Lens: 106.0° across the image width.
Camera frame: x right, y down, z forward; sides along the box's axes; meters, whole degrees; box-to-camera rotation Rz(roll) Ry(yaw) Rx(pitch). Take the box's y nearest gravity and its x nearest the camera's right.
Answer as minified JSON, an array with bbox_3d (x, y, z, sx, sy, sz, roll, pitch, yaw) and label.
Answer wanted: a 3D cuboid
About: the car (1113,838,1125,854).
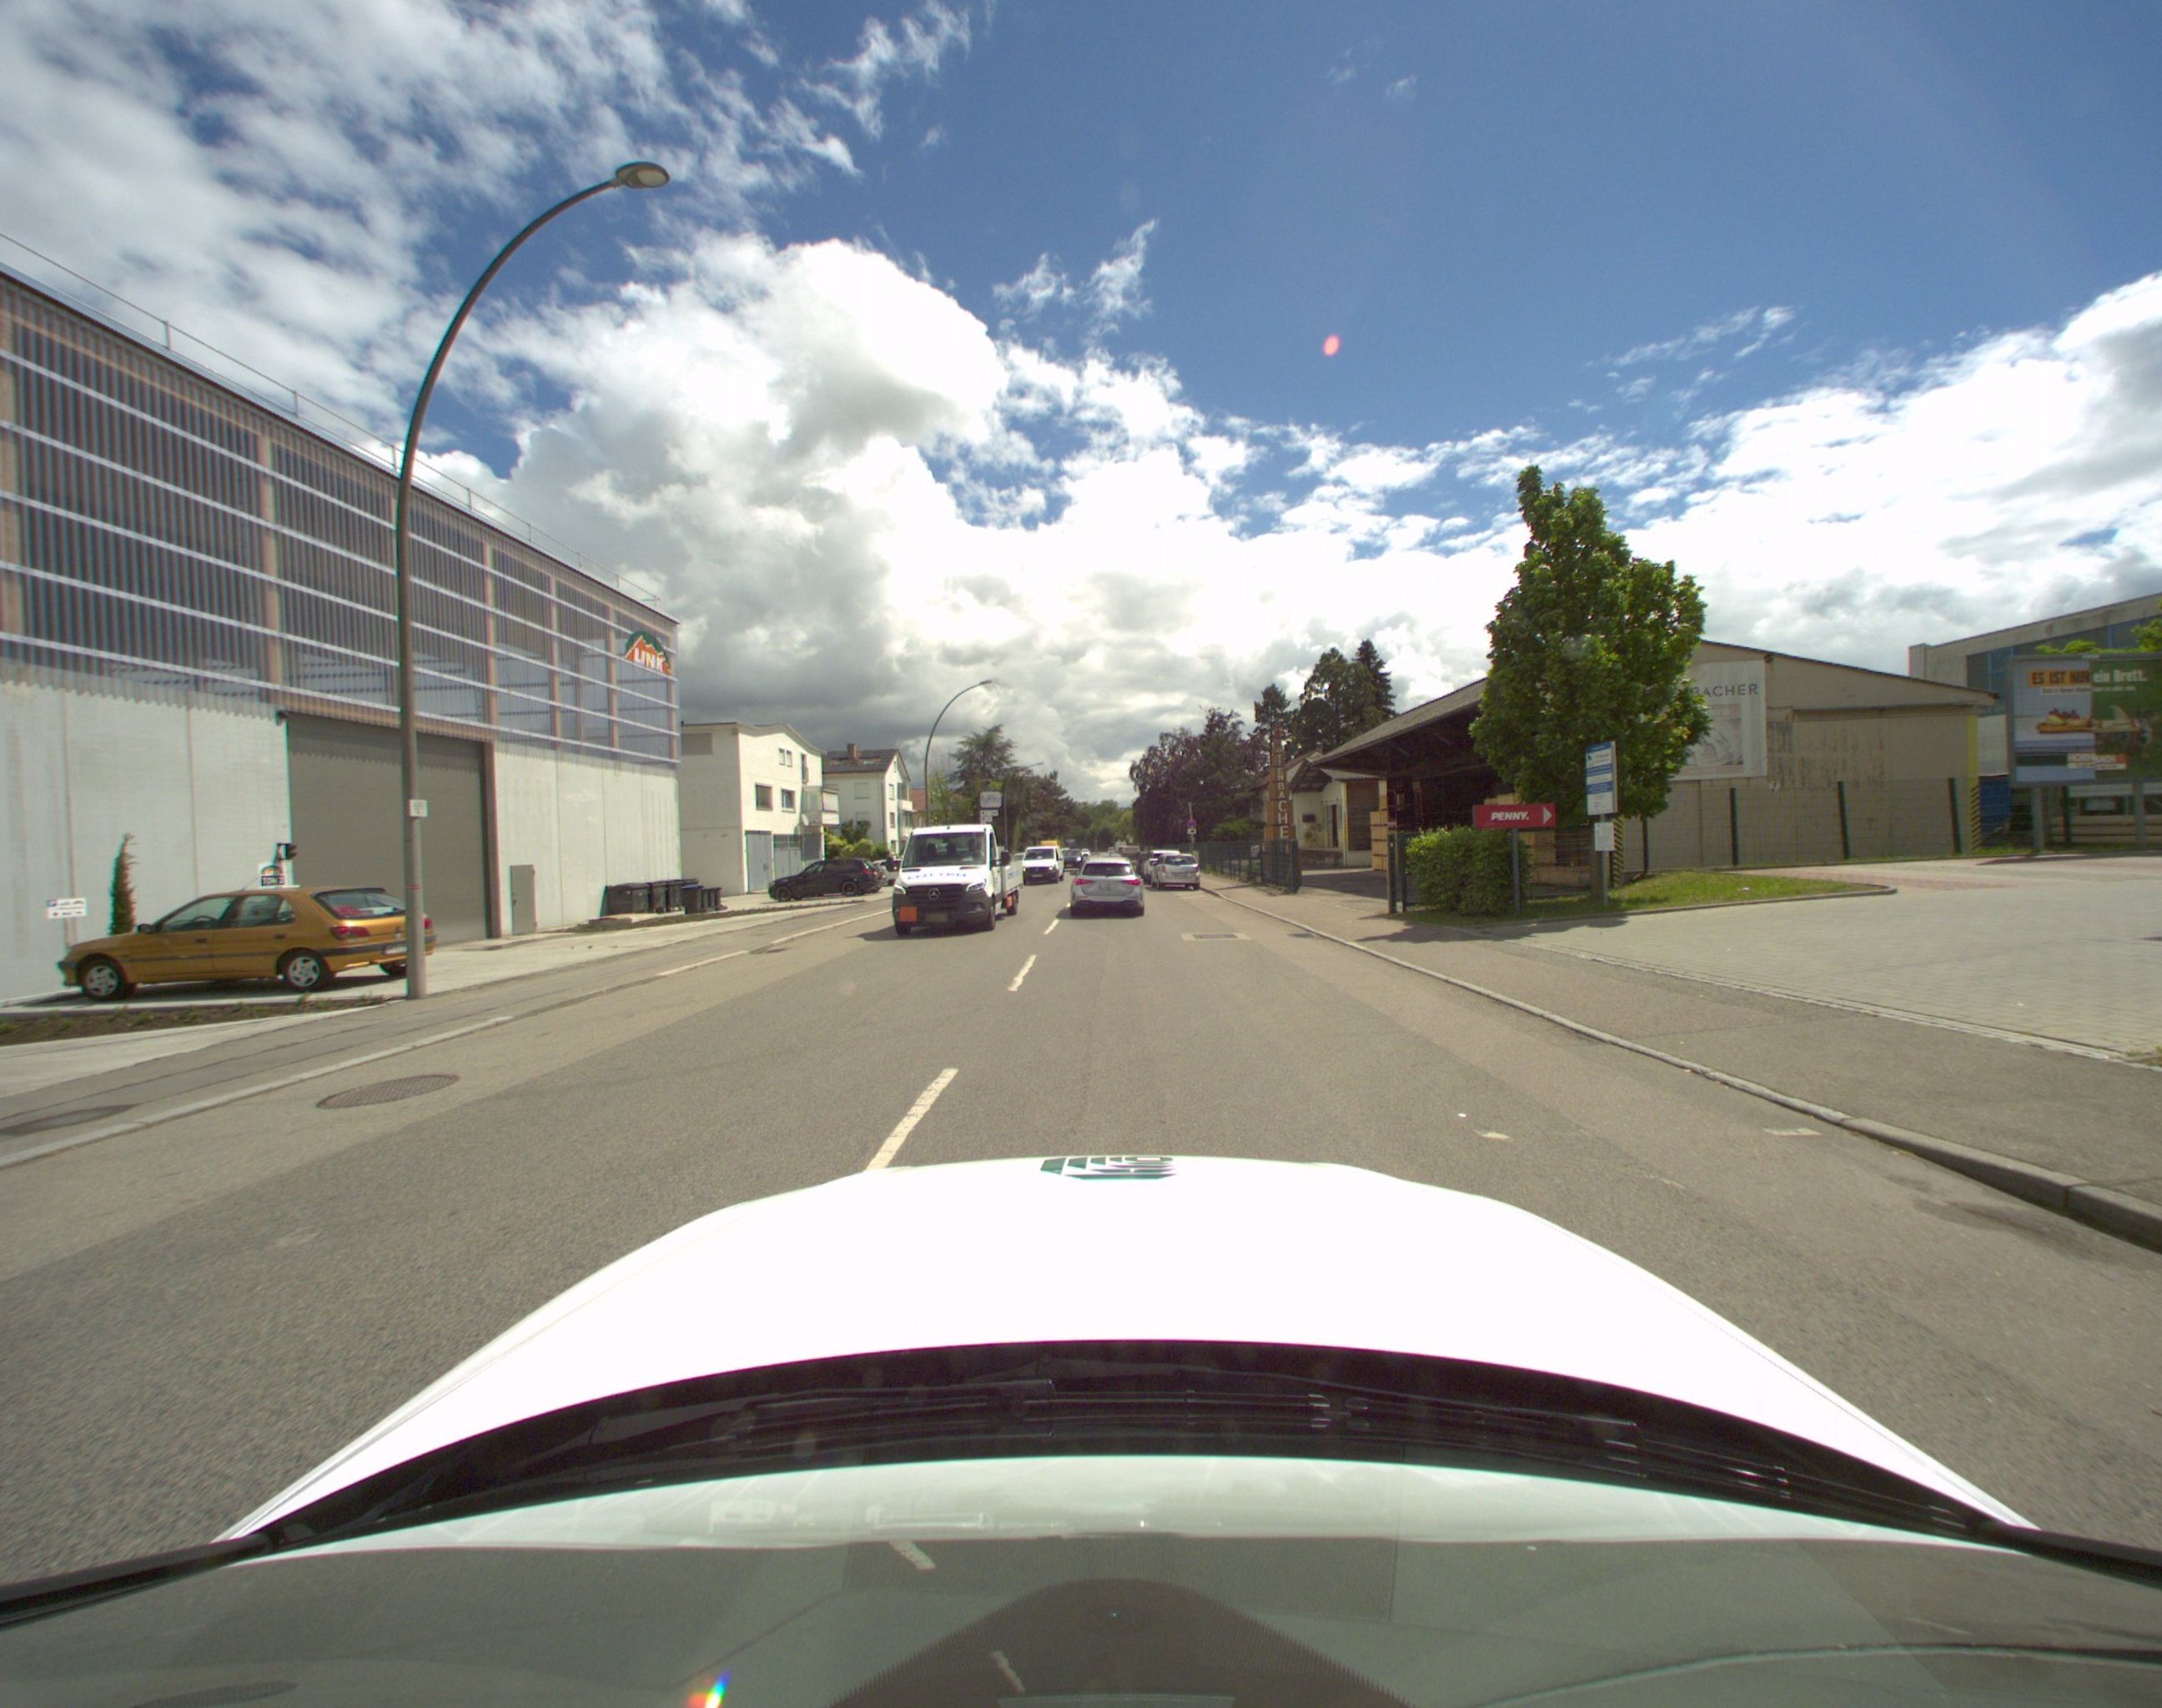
[{"bbox_3d":[6.086,-1.265,130.382,1.779,2.518,4.315,-1,0,0],"label":"car"}]

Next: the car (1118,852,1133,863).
[{"bbox_3d":[6.174,0.513,113.098,1.779,1.484,4.315,-1,0,0],"label":"car"}]

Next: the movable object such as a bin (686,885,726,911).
[{"bbox_3d":[-14.743,1.719,32.037,0.740,0.919,1.520,-3,0,3],"label":"movable object such as a bin"}]

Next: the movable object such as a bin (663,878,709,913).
[{"bbox_3d":[-16.826,1.747,34.724,0.953,1.356,1.820,-3,0,3],"label":"movable object such as a bin"}]

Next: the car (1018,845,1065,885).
[{"bbox_3d":[-1.966,0.504,41.891,1.987,1.888,5.118,-2,1,1],"label":"car"}]

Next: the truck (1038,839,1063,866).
[{"bbox_3d":[-3.358,-0.234,91.309,2.066,2.814,7.083,-3,1,3],"label":"truck"}]

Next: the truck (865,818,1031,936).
[{"bbox_3d":[-2.763,0.409,18.896,2.309,2.178,6.455,-3,0,3],"label":"truck"}]

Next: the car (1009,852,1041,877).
[{"bbox_3d":[-3.949,0.708,57.864,1.785,1.603,4.365,-3,1,1],"label":"car"}]

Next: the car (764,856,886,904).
[{"bbox_3d":[-11.335,1.127,36.381,4.615,1.632,2.196,-5,1,-2],"label":"car"}]

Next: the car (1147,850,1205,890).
[{"bbox_3d":[3.899,0.614,34.002,1.786,1.450,4.362,-3,1,-1],"label":"car"}]

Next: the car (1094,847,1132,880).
[{"bbox_3d":[1.601,0.466,41.808,1.750,1.558,3.999,-2,1,-1],"label":"car"}]

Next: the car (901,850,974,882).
[{"bbox_3d":[-9.208,0.775,52.575,4.265,1.836,1.991,-2,-3,0],"label":"car"}]

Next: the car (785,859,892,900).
[{"bbox_3d":[-11.536,1.199,38.921,4.450,1.505,1.824,-5,1,-2],"label":"car"}]

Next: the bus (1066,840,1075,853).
[{"bbox_3d":[-2.847,-2.098,217.640,1.989,3.364,6.973,0,1,-4],"label":"bus"}]

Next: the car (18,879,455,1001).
[{"bbox_3d":[-11.674,1.151,11.515,4.139,1.491,1.824,0,1,-2],"label":"car"}]

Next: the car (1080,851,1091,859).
[{"bbox_3d":[0.831,0.171,156.632,1.927,1.492,4.365,-3,1,1],"label":"car"}]

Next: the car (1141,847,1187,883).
[{"bbox_3d":[3.965,0.490,39.630,1.785,1.552,4.574,-3,1,1],"label":"car"}]

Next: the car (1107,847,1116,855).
[{"bbox_3d":[6.459,-0.643,174.351,1.749,1.558,4.001,-2,1,1],"label":"car"}]

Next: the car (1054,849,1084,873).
[{"bbox_3d":[-0.932,0.512,64.244,1.985,1.733,4.552,-3,1,3],"label":"car"}]

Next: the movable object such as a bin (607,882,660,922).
[{"bbox_3d":[-17.002,1.805,30.996,0.953,1.356,1.820,0,1,3],"label":"movable object such as a bin"}]

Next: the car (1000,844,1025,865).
[{"bbox_3d":[-5.978,0.019,71.442,1.989,1.657,3.997,-3,1,-2],"label":"car"}]

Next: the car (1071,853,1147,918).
[{"bbox_3d":[0.647,0.741,21.204,1.779,1.484,4.315,-1,0,0],"label":"car"}]

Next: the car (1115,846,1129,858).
[{"bbox_3d":[5.986,-0.265,118.133,1.779,1.715,4.315,-1,0,0],"label":"car"}]

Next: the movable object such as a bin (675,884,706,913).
[{"bbox_3d":[-14.827,1.678,30.920,0.740,1.030,0.712,-3,0,3],"label":"movable object such as a bin"}]

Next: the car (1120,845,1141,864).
[{"bbox_3d":[5.612,0.044,92.836,2.136,1.984,5.263,-2,0,2],"label":"car"}]

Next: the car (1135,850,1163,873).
[{"bbox_3d":[4.678,0.465,56.262,1.683,1.450,3.850,-2,0,2],"label":"car"}]

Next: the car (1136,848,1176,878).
[{"bbox_3d":[4.186,0.481,45.733,1.685,1.552,4.082,-2,0,-2],"label":"car"}]

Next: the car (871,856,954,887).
[{"bbox_3d":[-9.741,1.040,47.288,4.263,1.567,1.991,-2,-3,1],"label":"car"}]

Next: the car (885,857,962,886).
[{"bbox_3d":[-9.589,1.073,49.861,4.265,1.567,1.991,-2,-3,0],"label":"car"}]

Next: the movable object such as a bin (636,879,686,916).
[{"bbox_3d":[-16.921,1.729,32.859,0.953,1.356,1.820,-3,0,3],"label":"movable object such as a bin"}]
